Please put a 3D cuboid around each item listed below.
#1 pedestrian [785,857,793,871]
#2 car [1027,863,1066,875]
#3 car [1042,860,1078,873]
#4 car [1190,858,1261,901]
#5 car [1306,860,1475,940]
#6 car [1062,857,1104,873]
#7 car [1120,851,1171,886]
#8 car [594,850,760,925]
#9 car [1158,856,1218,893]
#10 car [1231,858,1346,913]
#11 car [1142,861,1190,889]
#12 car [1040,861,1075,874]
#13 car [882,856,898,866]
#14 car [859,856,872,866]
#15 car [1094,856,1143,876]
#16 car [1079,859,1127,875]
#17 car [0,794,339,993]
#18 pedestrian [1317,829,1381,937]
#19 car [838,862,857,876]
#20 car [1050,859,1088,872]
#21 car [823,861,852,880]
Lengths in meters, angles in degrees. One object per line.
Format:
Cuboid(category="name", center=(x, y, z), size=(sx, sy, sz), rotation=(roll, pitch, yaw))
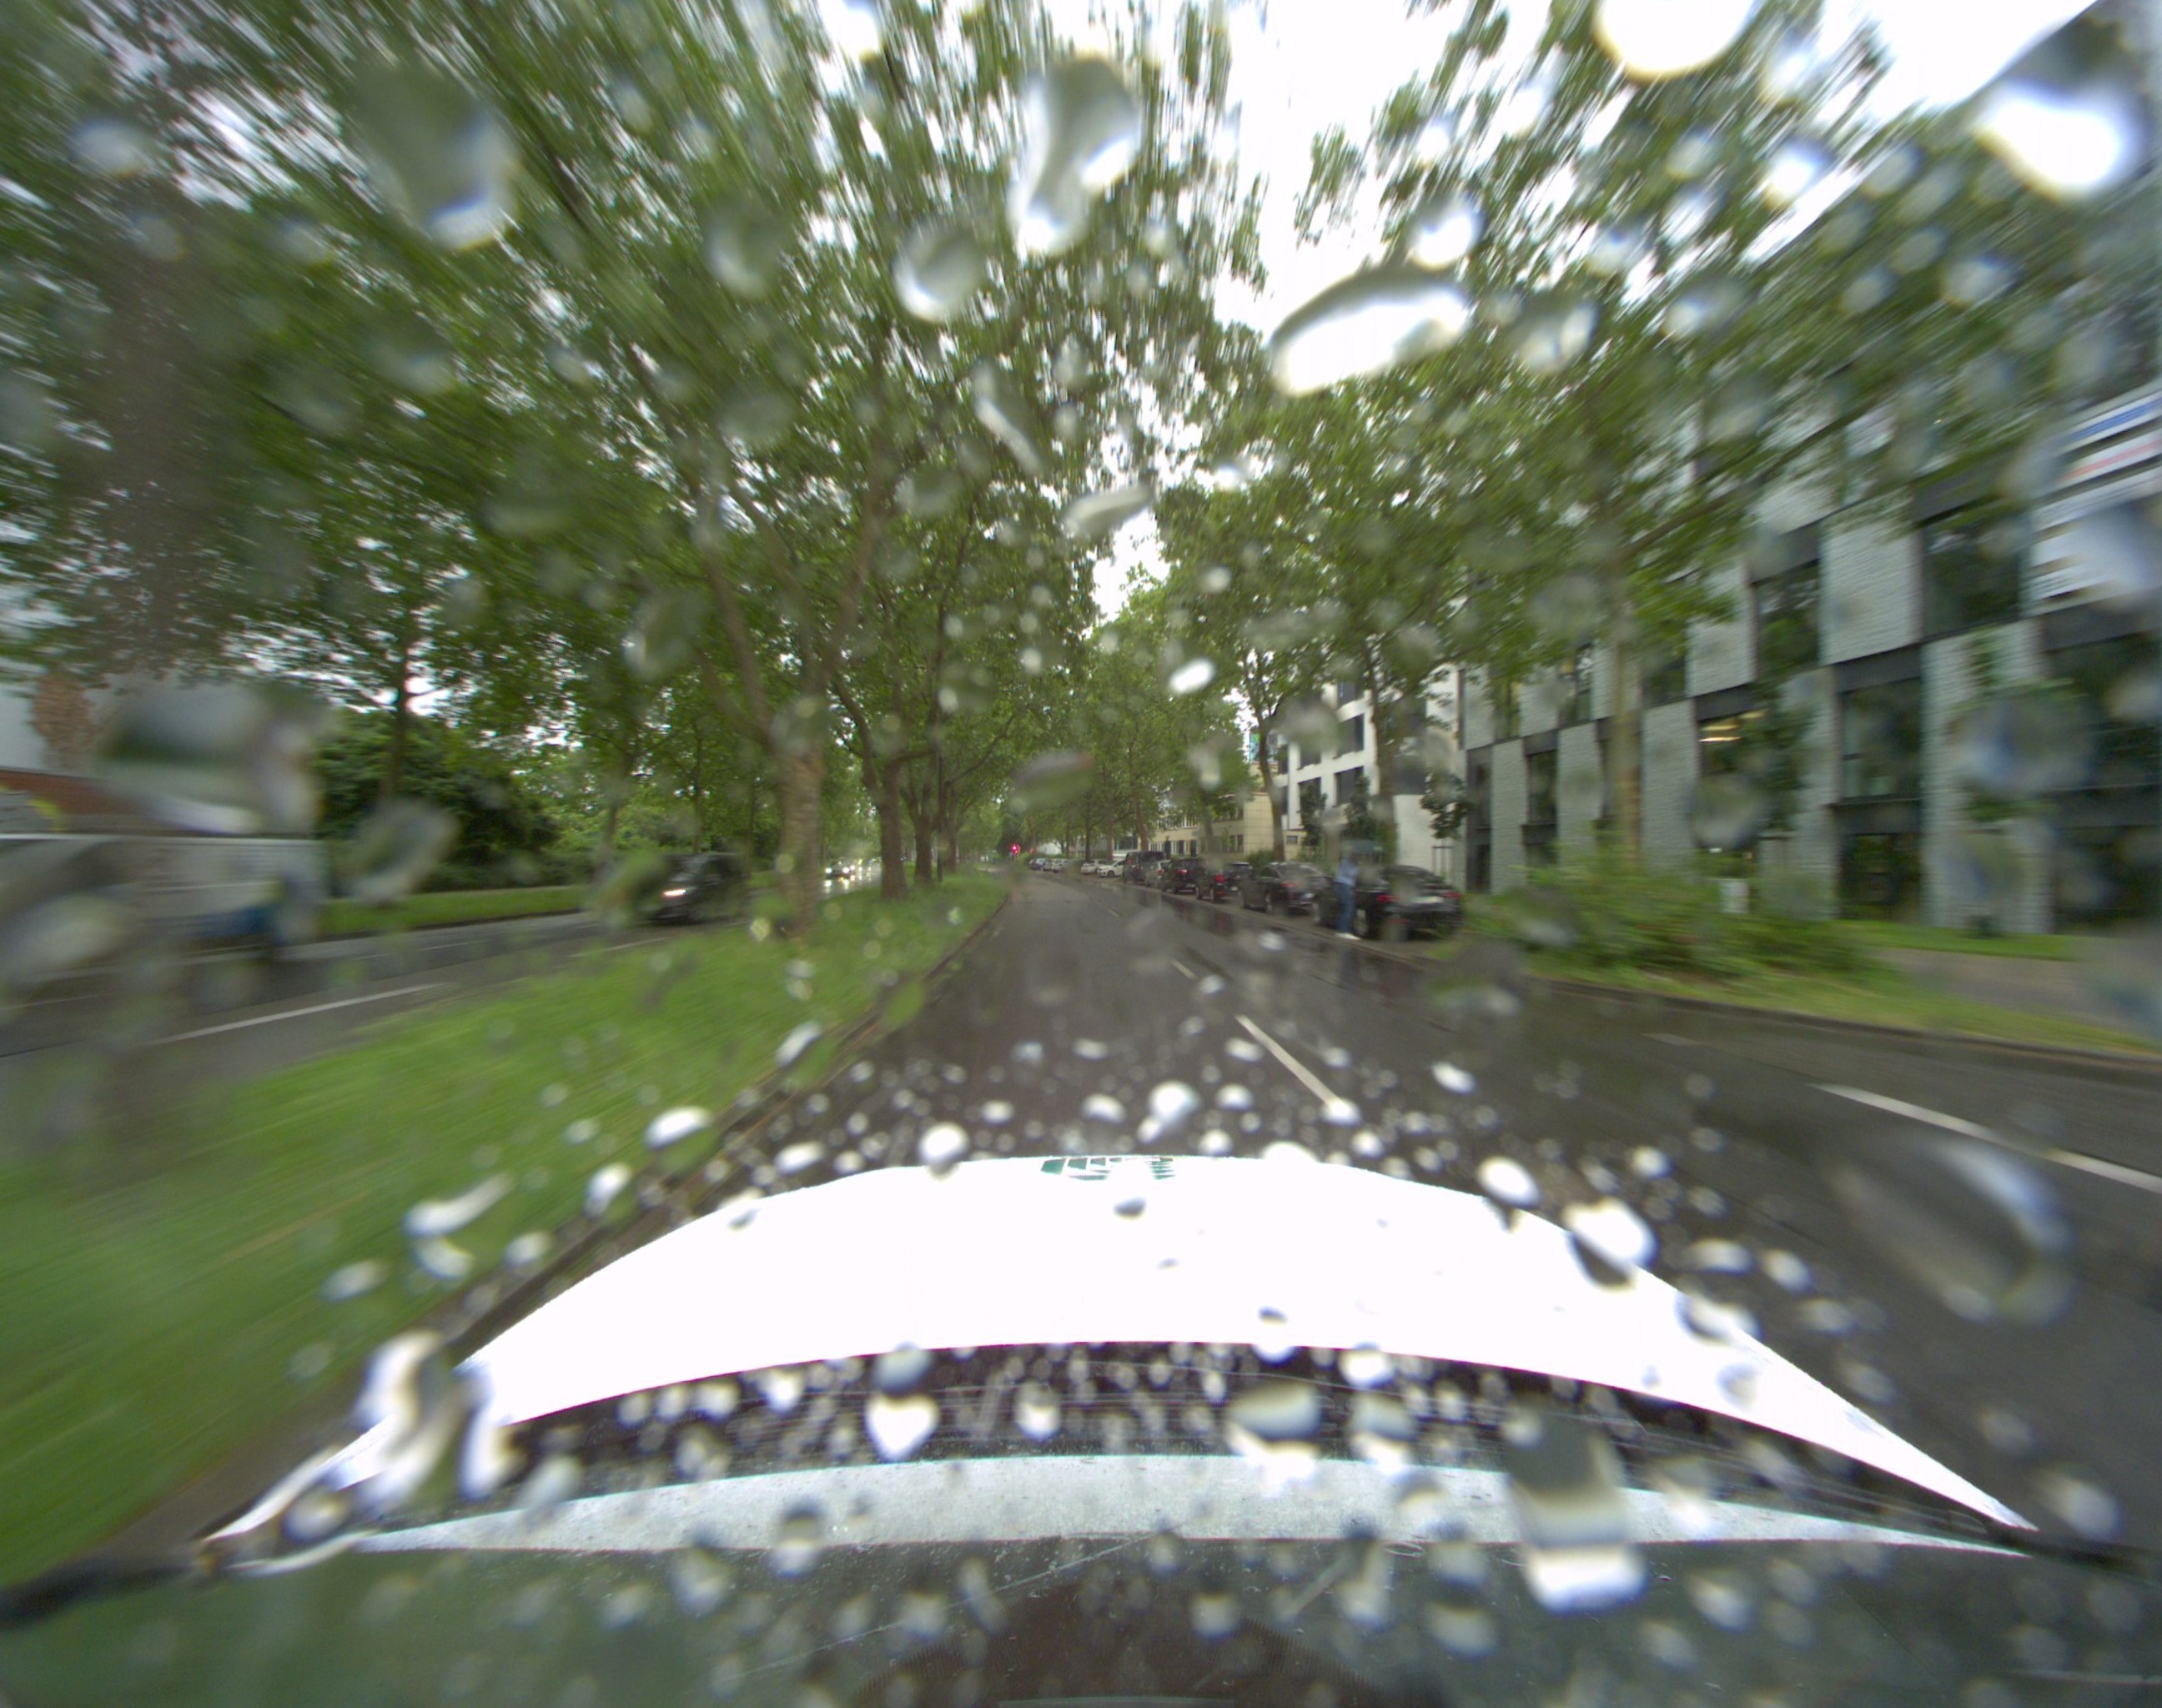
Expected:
Cuboid(category="pedestrian", center=(-35.523, 1.209, 99.004), size=(0.832, 1.674, 0.894), rotation=(0, -1, -17))
Cuboid(category="car", center=(-4.213, 1.782, 99.521), size=(4.517, 1.459, 1.729), rotation=(1, -1, -38))
Cuboid(category="car", center=(-2.311, 1.381, 90.685), size=(3.712, 1.416, 1.754), rotation=(1, -1, -41))
Cuboid(category="car", center=(5.186, 0.894, 29.748), size=(1.739, 1.476, 4.078), rotation=(0, -1, -2))
Cuboid(category="car", center=(6.213, 0.845, 17.015), size=(1.737, 1.428, 4.867), rotation=(0, -1, 1))
Cuboid(category="car", center=(0.234, 1.074, 80.277), size=(4.060, 1.539, 1.728), rotation=(1, -1, -43))
Cuboid(category="car", center=(3.802, 0.852, 48.905), size=(2.118, 2.028, 5.516), rotation=(0, -1, -6))
Cuboid(category="car", center=(-10.298, 0.801, 21.270), size=(2.025, 1.736, 4.949), rotation=(0, -1, -3))
Cuboid(category="car", center=(4.753, 0.901, 36.799), size=(1.741, 1.566, 4.362), rotation=(0, -1, -6))
Cuboid(category="car", center=(5.861, 0.845, 23.660), size=(1.740, 1.428, 5.096), rotation=(0, -1, -4))
Cuboid(category="car", center=(4.487, 1.091, 43.612), size=(1.741, 1.469, 4.297), rotation=(0, -1, -6))
Cuboid(category="car", center=(-2.687, 1.519, 93.939), size=(3.712, 1.416, 1.728), rotation=(1, -1, -41))
Cuboid(category="car", center=(-30.757, 1.150, 131.050), size=(1.750, 1.650, 4.273), rotation=(0, -1, -22))
Cuboid(category="car", center=(-34.196, 1.126, 129.439), size=(1.748, 1.476, 4.382), rotation=(0, -1, -18))
Cuboid(category="car", center=(3.087, 0.971, 66.880), size=(3.653, 1.504, 1.735), rotation=(0, 1, -25))
Cuboid(category="car", center=(1.930, 1.118, 71.115), size=(4.059, 1.428, 1.728), rotation=(1, -1, -41))
Cuboid(category="car", center=(-13.236, 0.462, 10.817), size=(2.026, 2.226, 5.425), rotation=(0, -1, -4))
Cuboid(category="pedestrian", center=(5.213, 0.544, 15.825), size=(0.904, 2.014, 0.823), rotation=(1, -1, -39))
Cuboid(category="car", center=(-25.147, 1.627, 87.785), size=(1.745, 1.459, 3.825), rotation=(0, -1, -13))
Cuboid(category="car", center=(-1.269, 1.196, 85.258), size=(3.710, 1.416, 1.729), rotation=(1, -1, -38))
Cuboid(category="car", center=(-20.996, 1.389, 70.327), size=(1.742, 1.561, 4.357), rotation=(0, -1, -7))
